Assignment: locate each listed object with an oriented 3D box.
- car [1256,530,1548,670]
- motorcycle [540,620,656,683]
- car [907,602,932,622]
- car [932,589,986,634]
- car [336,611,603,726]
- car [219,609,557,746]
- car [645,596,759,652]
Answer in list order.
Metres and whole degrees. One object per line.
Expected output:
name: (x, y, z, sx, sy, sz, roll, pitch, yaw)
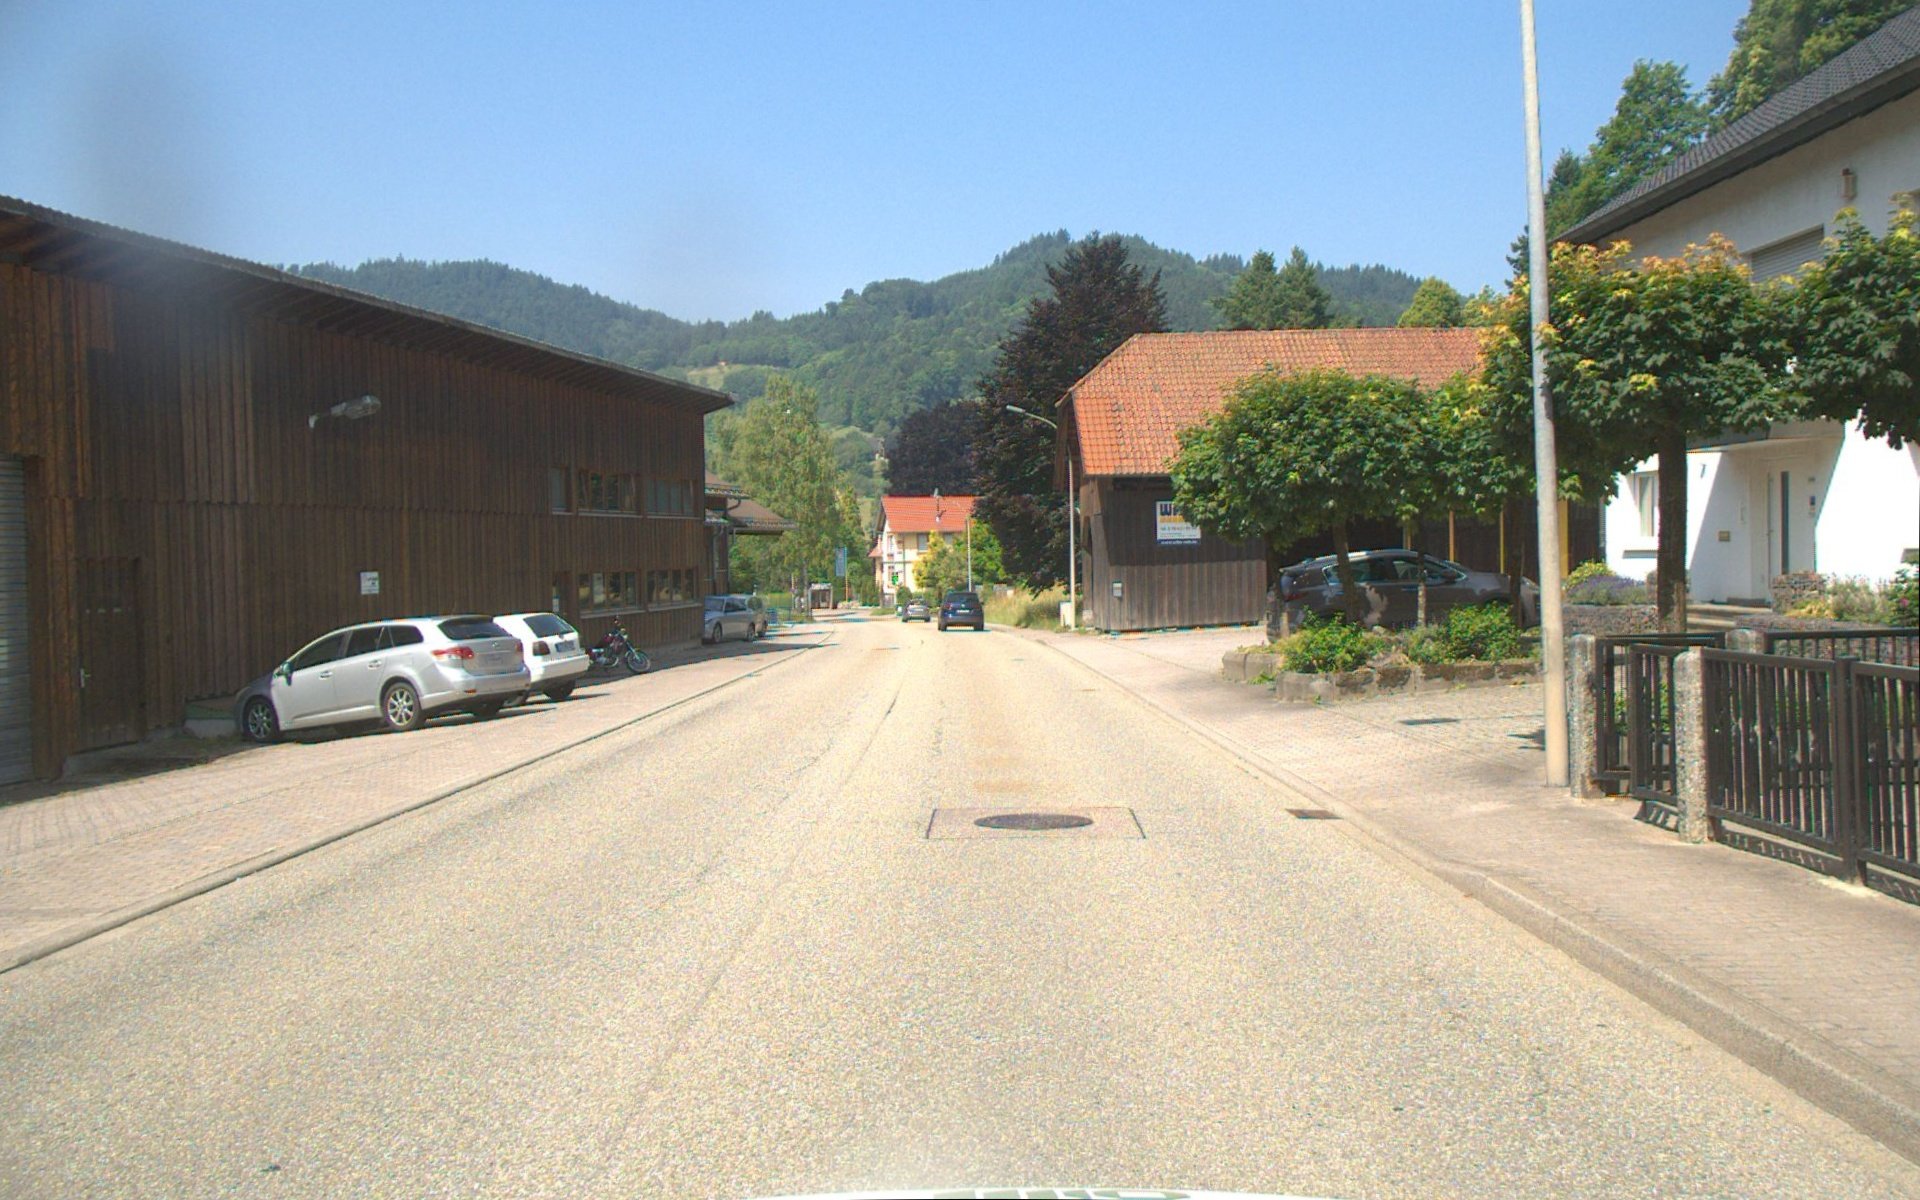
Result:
car: (7.035, 0.001, 26.672, 4.134, 1.716, 1.777, -7, 0, 3)
motorcycle: (-8.038, 1.137, 36.777, 2.357, 1.286, 0.744, -2, 0, 10)
car: (-2.700, 0.776, 109.292, 1.448, 1.230, 2.381, -3, 0, -5)
car: (-0.080, 0.476, 69.404, 1.882, 1.728, 3.784, -2, 0, -5)
car: (-7.739, 1.078, 26.201, 3.582, 1.409, 1.712, -6, -1, 15)
car: (-8.098, 1.100, 23.394, 4.342, 1.500, 1.923, -5, 0, 26)
car: (-7.752, 0.693, 50.172, 1.692, 1.479, 4.809, -1, 1, 13)
